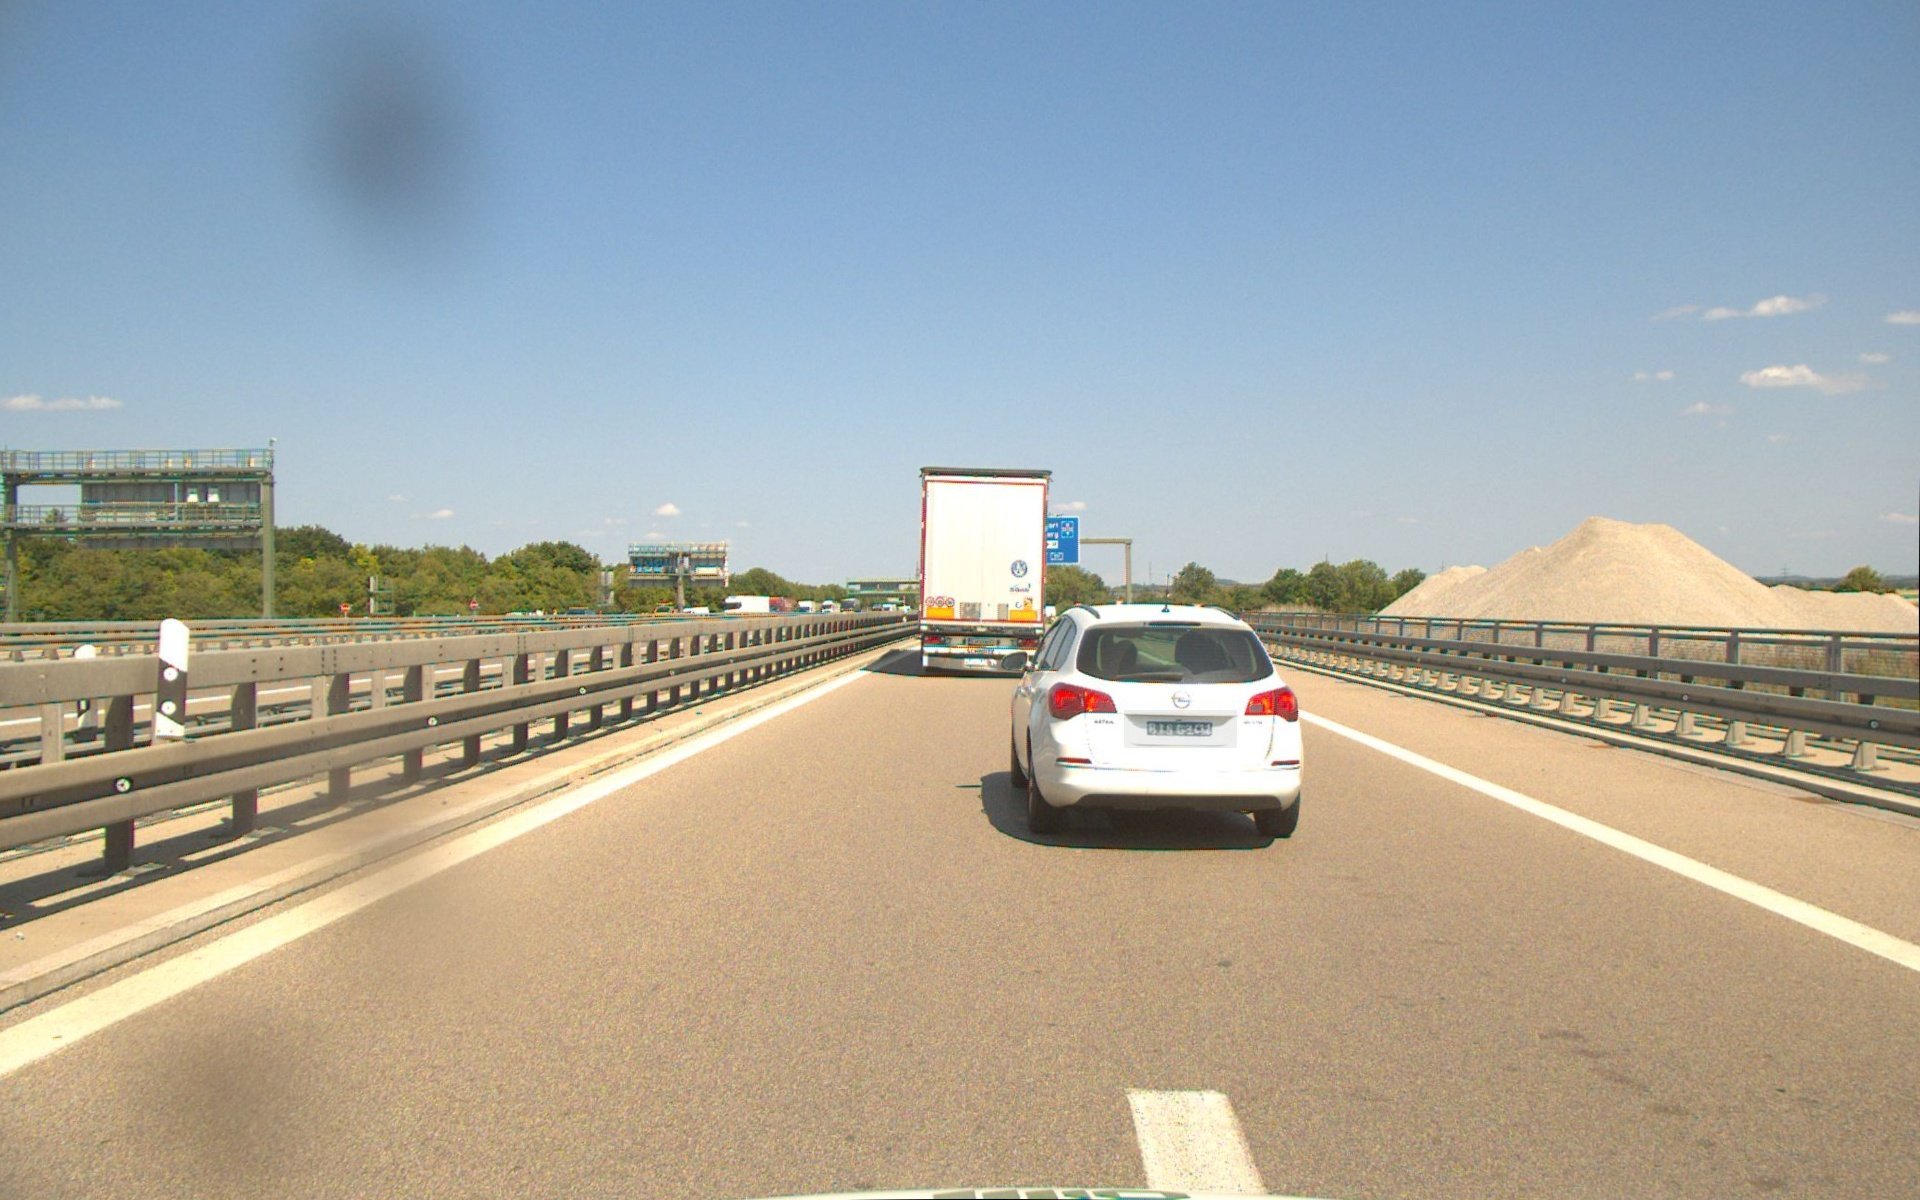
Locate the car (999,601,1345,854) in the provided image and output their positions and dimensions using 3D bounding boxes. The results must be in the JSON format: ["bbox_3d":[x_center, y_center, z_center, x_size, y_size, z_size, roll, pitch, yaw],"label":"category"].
[{"bbox_3d":[1.307,0.756,11.962,1.817,1.468,4.370,1,0,-2],"label":"car"}]

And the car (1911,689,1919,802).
[{"bbox_3d":[37.275,5.322,59.292,5.046,4.033,2.478,1,0,-8],"label":"car"}]

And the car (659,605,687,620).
[{"bbox_3d":[-29.879,1.304,172.300,1.799,1.544,5.299,0,0,2],"label":"car"}]

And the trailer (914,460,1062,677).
[{"bbox_3d":[0.748,-0.550,38.064,2.852,4.218,11.260,1,-1,2],"label":"trailer"}]
